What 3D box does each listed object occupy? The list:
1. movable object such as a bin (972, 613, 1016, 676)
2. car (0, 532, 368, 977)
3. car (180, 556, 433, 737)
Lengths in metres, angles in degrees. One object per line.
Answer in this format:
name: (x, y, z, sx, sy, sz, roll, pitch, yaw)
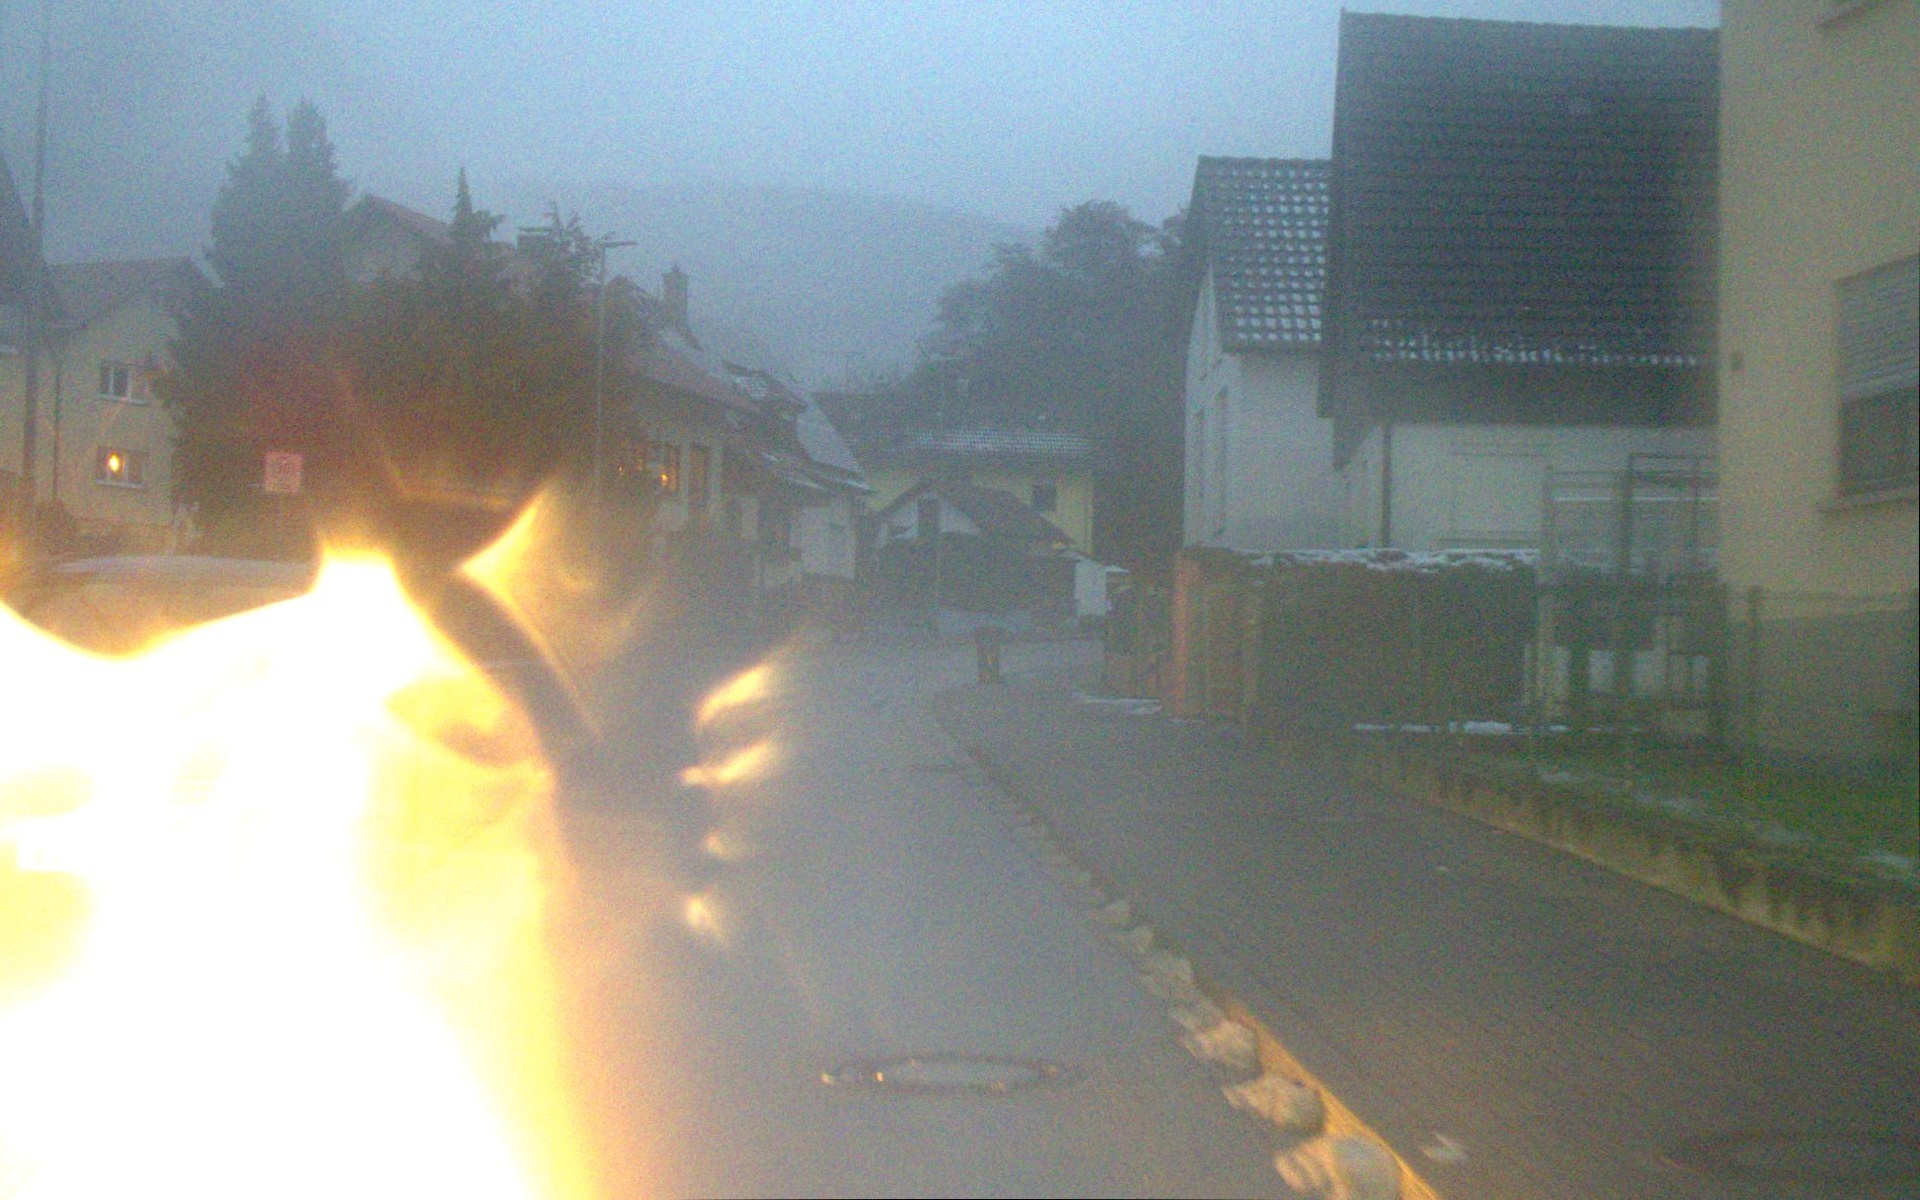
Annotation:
movable object such as a bin: (0.533, 0.695, 53.454, 0.614, 0.943, 0.595, -2, -2, 4)
car: (-3.299, 0.486, 13.723, 1.773, 1.490, 4.381, 0, 1, -9)
car: (-5.569, 0.354, 29.685, 1.667, 1.405, 3.914, 1, 1, -4)
